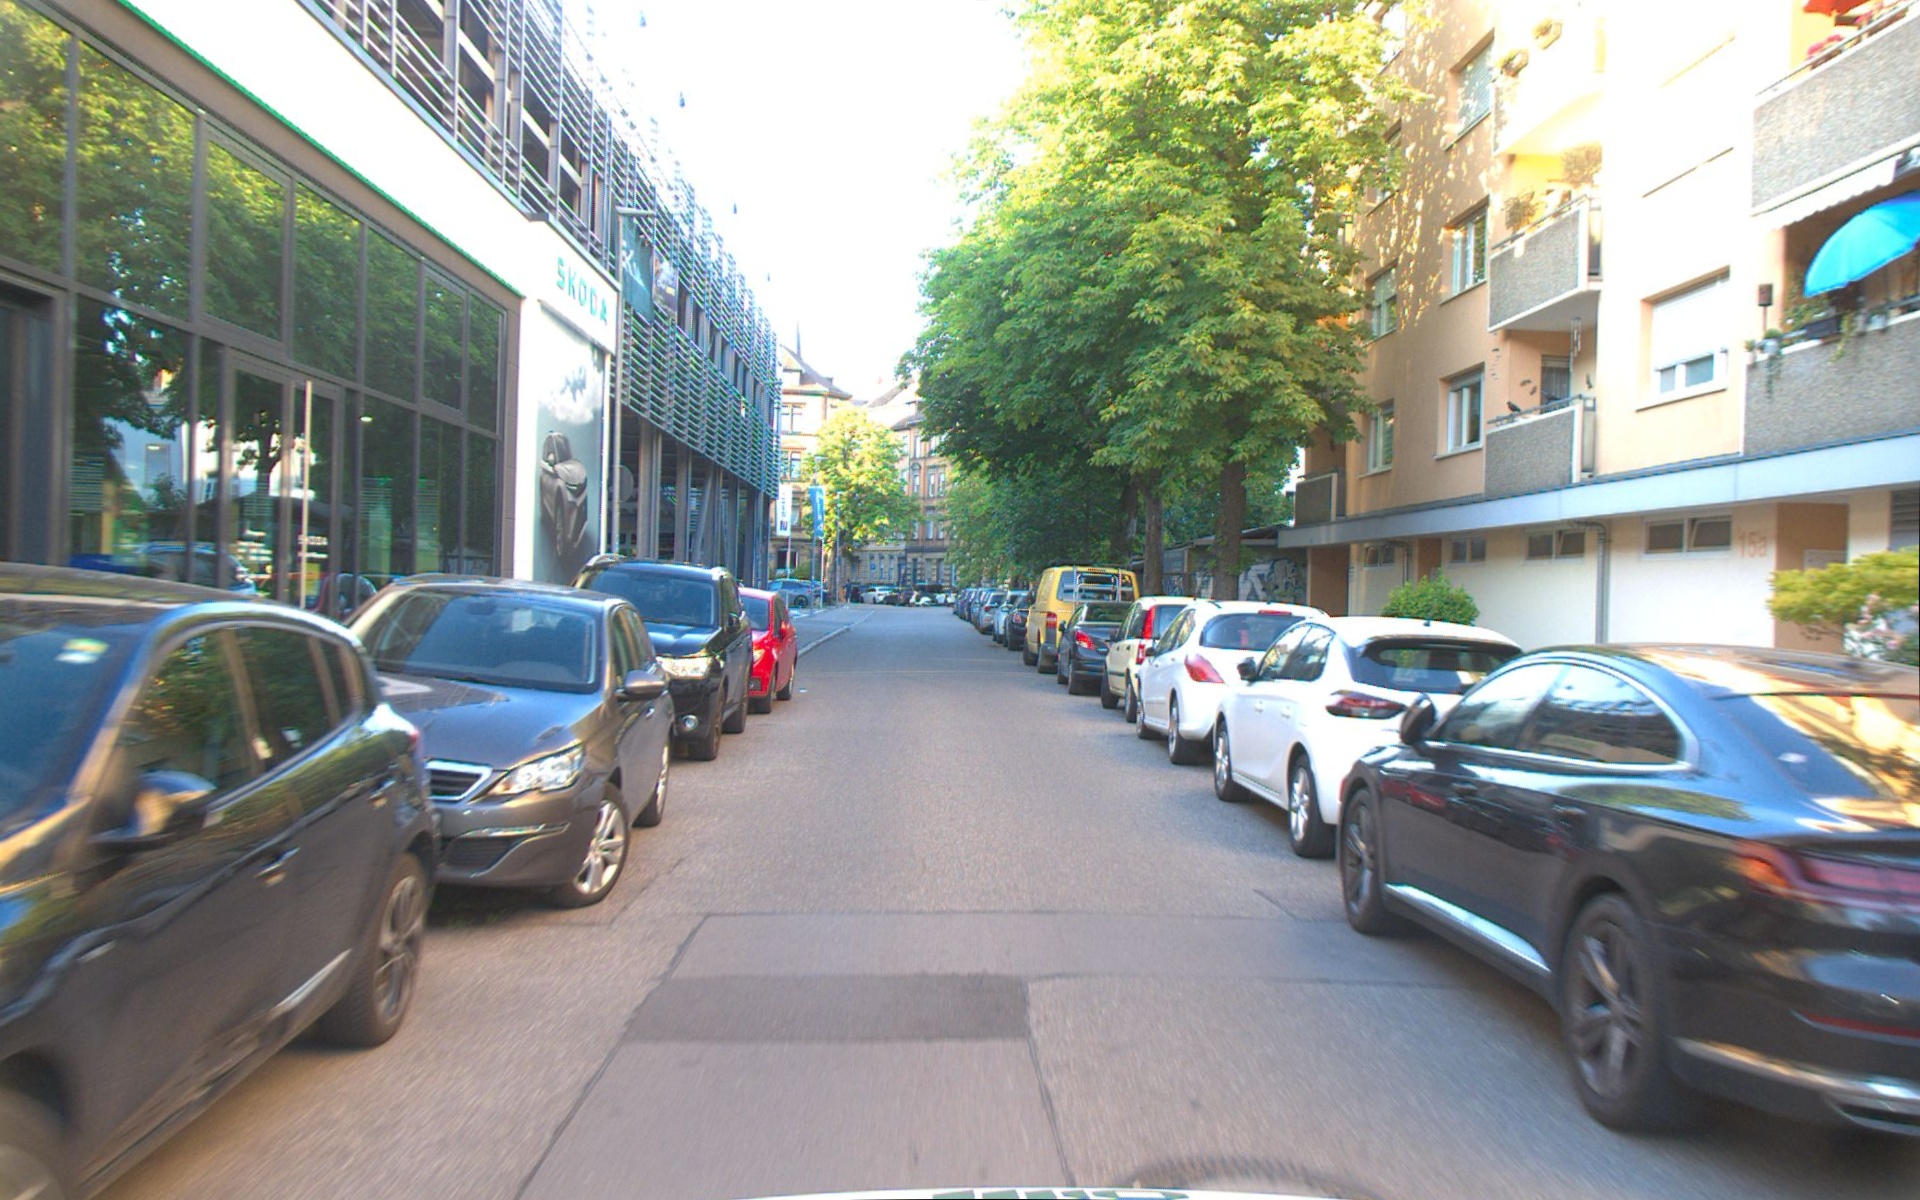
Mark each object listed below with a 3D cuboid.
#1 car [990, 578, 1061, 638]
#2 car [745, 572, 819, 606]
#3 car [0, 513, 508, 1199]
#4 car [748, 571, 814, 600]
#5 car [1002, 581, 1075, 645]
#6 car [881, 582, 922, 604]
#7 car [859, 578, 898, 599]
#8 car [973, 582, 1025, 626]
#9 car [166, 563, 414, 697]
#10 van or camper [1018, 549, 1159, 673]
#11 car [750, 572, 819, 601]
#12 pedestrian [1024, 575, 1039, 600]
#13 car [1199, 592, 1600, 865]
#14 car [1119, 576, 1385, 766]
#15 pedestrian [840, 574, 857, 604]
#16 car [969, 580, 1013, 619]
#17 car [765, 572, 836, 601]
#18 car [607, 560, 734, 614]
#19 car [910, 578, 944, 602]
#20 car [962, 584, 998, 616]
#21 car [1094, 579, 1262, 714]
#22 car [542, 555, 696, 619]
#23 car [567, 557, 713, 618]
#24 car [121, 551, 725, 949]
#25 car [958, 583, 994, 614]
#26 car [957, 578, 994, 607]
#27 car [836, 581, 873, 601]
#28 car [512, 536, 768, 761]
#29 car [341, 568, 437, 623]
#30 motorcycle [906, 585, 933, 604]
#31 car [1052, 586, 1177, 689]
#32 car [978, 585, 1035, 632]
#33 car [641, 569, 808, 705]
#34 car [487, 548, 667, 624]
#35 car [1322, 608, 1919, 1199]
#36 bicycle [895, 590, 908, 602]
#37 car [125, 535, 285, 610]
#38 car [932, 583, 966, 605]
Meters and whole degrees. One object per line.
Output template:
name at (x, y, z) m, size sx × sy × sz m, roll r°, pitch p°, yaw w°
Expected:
car at (1.825, 0.202, 47.317) m, size 1.687 × 1.546 × 4.024 m, roll 1°, pitch 1°, yaw -2°
car at (-10.267, -0.648, 95.563) m, size 4.048 × 1.646 × 1.912 m, roll 3°, pitch 1°, yaw -4°
car at (-2.432, 0.550, 3.841) m, size 1.695 × 1.426 × 4.004 m, roll 7°, pitch 1°, yaw -3°
car at (-11.126, -0.923, 102.908) m, size 3.967 × 1.500 × 1.919 m, roll 3°, pitch 1°, yaw -6°
car at (1.947, 0.305, 41.963) m, size 1.531 × 1.475 × 3.452 m, roll 1°, pitch 1°, yaw -2°
car at (-4.465, -0.548, 125.927) m, size 1.634 × 1.455 × 3.959 m, roll 2°, pitch 2°, yaw -25°
car at (-6.450, -0.908, 130.406) m, size 1.633 × 1.455 × 4.137 m, roll 2°, pitch 2°, yaw -23°
car at (1.445, 0.132, 62.655) m, size 1.724 × 1.480 × 4.391 m, roll 1°, pitch 1°, yaw -2°
car at (-8.295, 0.307, 20.830) m, size 1.663 × 1.499 × 3.780 m, roll 1°, pitch 1°, yaw -2°
van or camper at (2.359, 0.133, 31.683) m, size 2.023 × 2.132 × 5.088 m, roll 1°, pitch 1°, yaw -3°
car at (-10.455, -0.809, 98.750) m, size 3.986 × 1.646 × 1.764 m, roll 1°, pitch 1°, yaw -4°
pedestrian at (5.442, -0.961, 125.757) m, size 0.829 × 1.835 × 0.771 m, roll 1°, pitch 1°, yaw -22°
car at (2.827, 0.737, 11.550) m, size 1.577 × 1.486 × 4.053 m, roll 1°, pitch 1°, yaw -2°
car at (2.739, 0.590, 16.449) m, size 1.755 × 1.590 × 4.192 m, roll 1°, pitch 1°, yaw -2°
pedestrian at (-7.027, -0.717, 104.462) m, size 0.725 × 1.835 × 1.114 m, roll 1°, pitch 1°, yaw -22°
car at (1.354, -0.034, 73.446) m, size 1.724 × 1.632 × 3.872 m, roll 1°, pitch 0°, yaw -2°
car at (-11.029, -0.934, 114.396) m, size 4.738 × 1.762 × 1.917 m, roll 2°, pitch 1°, yaw -8°
car at (-9.919, -0.459, 56.881) m, size 4.004 × 1.713 × 1.860 m, roll 1°, pitch 1°, yaw -1°
car at (-2.699, -0.820, 134.564) m, size 1.654 × 1.813 × 2.991 m, roll 2°, pitch 1°, yaw -26°
car at (0.976, -0.006, 80.947) m, size 1.564 × 1.502 × 3.772 m, roll 1°, pitch 0°, yaw -2°
car at (2.718, 0.531, 21.302) m, size 1.577 × 1.537 × 3.477 m, roll 1°, pitch 1°, yaw -2°
car at (-9.762, -0.394, 47.534) m, size 4.019 × 1.713 × 1.860 m, roll 1°, pitch 1°, yaw -1°
car at (-9.632, -0.394, 50.033) m, size 4.019 × 1.713 × 1.860 m, roll 1°, pitch 1°, yaw -1°
car at (-2.548, 0.576, 9.033) m, size 1.897 × 1.624 × 4.205 m, roll 1°, pitch 1°, yaw 0°
car at (0.792, -0.107, 85.573) m, size 1.661 × 1.502 × 4.116 m, roll 1°, pitch 0°, yaw -2°
car at (0.842, -0.424, 90.127) m, size 1.662 × 1.502 × 3.556 m, roll 1°, pitch 0°, yaw -5°
car at (-8.596, -0.733, 134.722) m, size 1.634 × 1.455 × 3.865 m, roll 2°, pitch 2°, yaw -25°
car at (-2.845, 0.355, 15.611) m, size 1.663 × 1.786 × 4.402 m, roll 1°, pitch 1°, yaw -2°
car at (-14.291, -0.135, 41.506) m, size 1.330 × 1.277 × 3.214 m, roll 1°, pitch 1°, yaw -1°
motorcycle at (-3.010, -0.413, 122.725) m, size 1.897 × 1.364 × 0.575 m, roll 1°, pitch 1°, yaw -12°
car at (2.392, 0.533, 26.360) m, size 1.574 × 1.406 × 4.000 m, roll 1°, pitch 1°, yaw 0°
car at (1.577, 0.255, 57.695) m, size 1.724 × 1.467 × 4.005 m, roll 1°, pitch 1°, yaw -2°
car at (-2.882, 0.398, 20.940) m, size 1.663 × 1.532 × 3.789 m, roll 1°, pitch 1°, yaw -2°
car at (-9.301, -0.347, 40.402) m, size 3.944 × 1.713 × 1.860 m, roll 1°, pitch 1°, yaw -1°
car at (2.792, 0.825, 6.030) m, size 1.773 × 1.441 × 4.624 m, roll 1°, pitch 1°, yaw -2°
bicycle at (-4.279, -0.327, 120.570) m, size 0.416 × 0.836 × 1.462 m, roll 2°, pitch 1°, yaw 20°
car at (-13.939, -0.534, 30.716) m, size 1.391 × 1.277 × 3.526 m, roll 1°, pitch 1°, yaw -1°
car at (-0.894, -0.482, 131.166) m, size 1.654 × 1.552 × 2.745 m, roll 2°, pitch 1°, yaw -26°
